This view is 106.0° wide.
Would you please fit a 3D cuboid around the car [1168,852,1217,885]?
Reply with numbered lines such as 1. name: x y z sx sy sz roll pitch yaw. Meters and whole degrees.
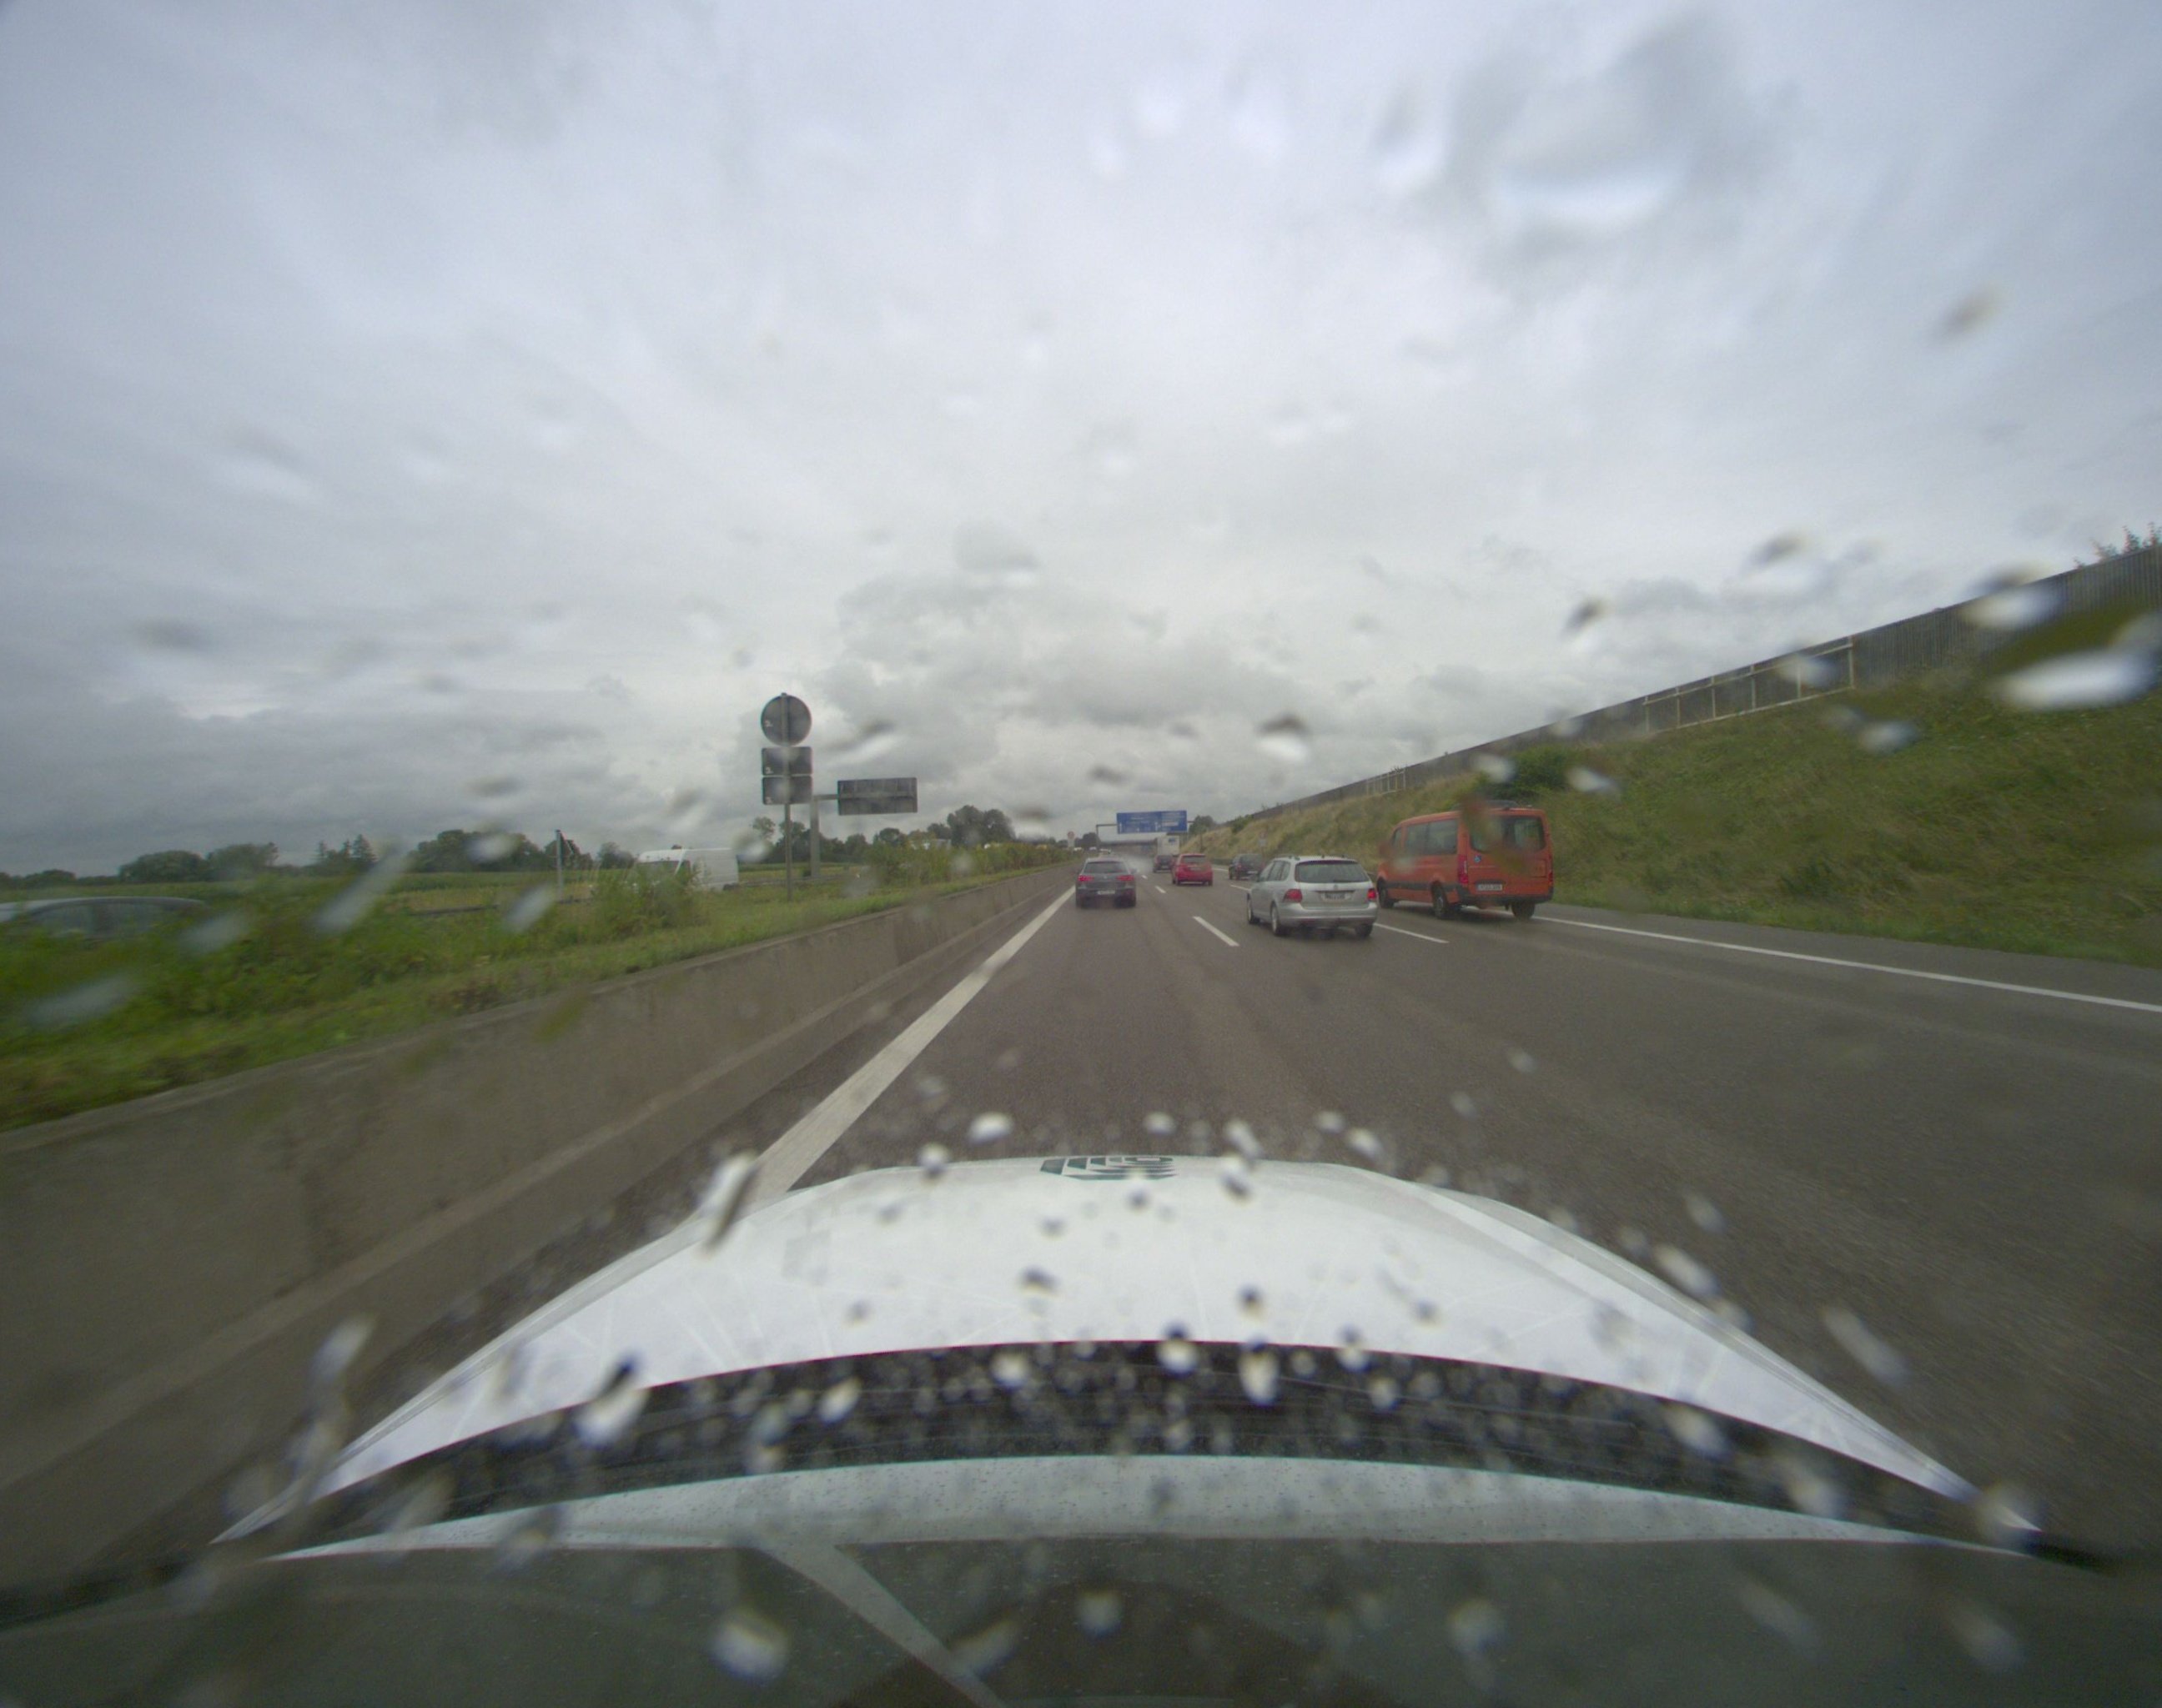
1. car: 5.318 0.641 39.222 1.883 1.446 4.688 -1 0 2

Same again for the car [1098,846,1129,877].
1. car: 1.933 0.466 48.418 1.747 1.750 4.003 0 0 3

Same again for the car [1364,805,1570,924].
1. car: 8.766 0.201 19.318 2.078 2.315 6.184 -1 0 2

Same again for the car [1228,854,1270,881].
1. car: 9.122 0.697 44.502 1.695 1.401 3.878 0 0 3

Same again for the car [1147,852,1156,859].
1. car: 19.199 0.472 221.957 1.987 1.860 4.391 -2 0 1

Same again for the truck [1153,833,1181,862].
1. truck: 13.588 -0.858 130.233 3.270 4.295 19.043 0 0 2

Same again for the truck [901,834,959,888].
1. truck: -13.905 0.649 75.963 3.212 4.649 9.680 0 0 3

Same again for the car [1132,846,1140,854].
1. car: 14.866 -1.166 219.923 1.987 2.013 4.000 -2 0 0

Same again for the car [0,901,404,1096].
1. car: -12.182 1.804 11.468 1.811 2.013 4.002 -1 0 2

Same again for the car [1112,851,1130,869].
1. car: 4.173 0.615 85.426 1.698 1.796 3.856 -3 0 2

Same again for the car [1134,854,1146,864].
1. car: 9.757 0.790 134.446 1.839 1.687 4.001 0 0 1

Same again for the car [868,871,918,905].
1. car: -11.207 2.006 48.777 1.852 1.820 4.002 -1 0 2

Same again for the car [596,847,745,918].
1. car: -16.138 1.044 32.630 2.236 2.530 6.910 0 0 2

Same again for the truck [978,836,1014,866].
1. truck: -11.727 -0.394 113.430 3.170 3.967 10.821 0 0 4

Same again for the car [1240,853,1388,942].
1. car: 4.314 0.724 15.804 1.735 1.425 4.520 -2 0 3

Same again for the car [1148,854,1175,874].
1. car: 6.383 0.755 64.777 1.913 1.522 4.625 -1 0 3

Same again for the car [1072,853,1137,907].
1. car: 0.706 0.730 24.351 1.762 1.467 4.002 0 0 2
